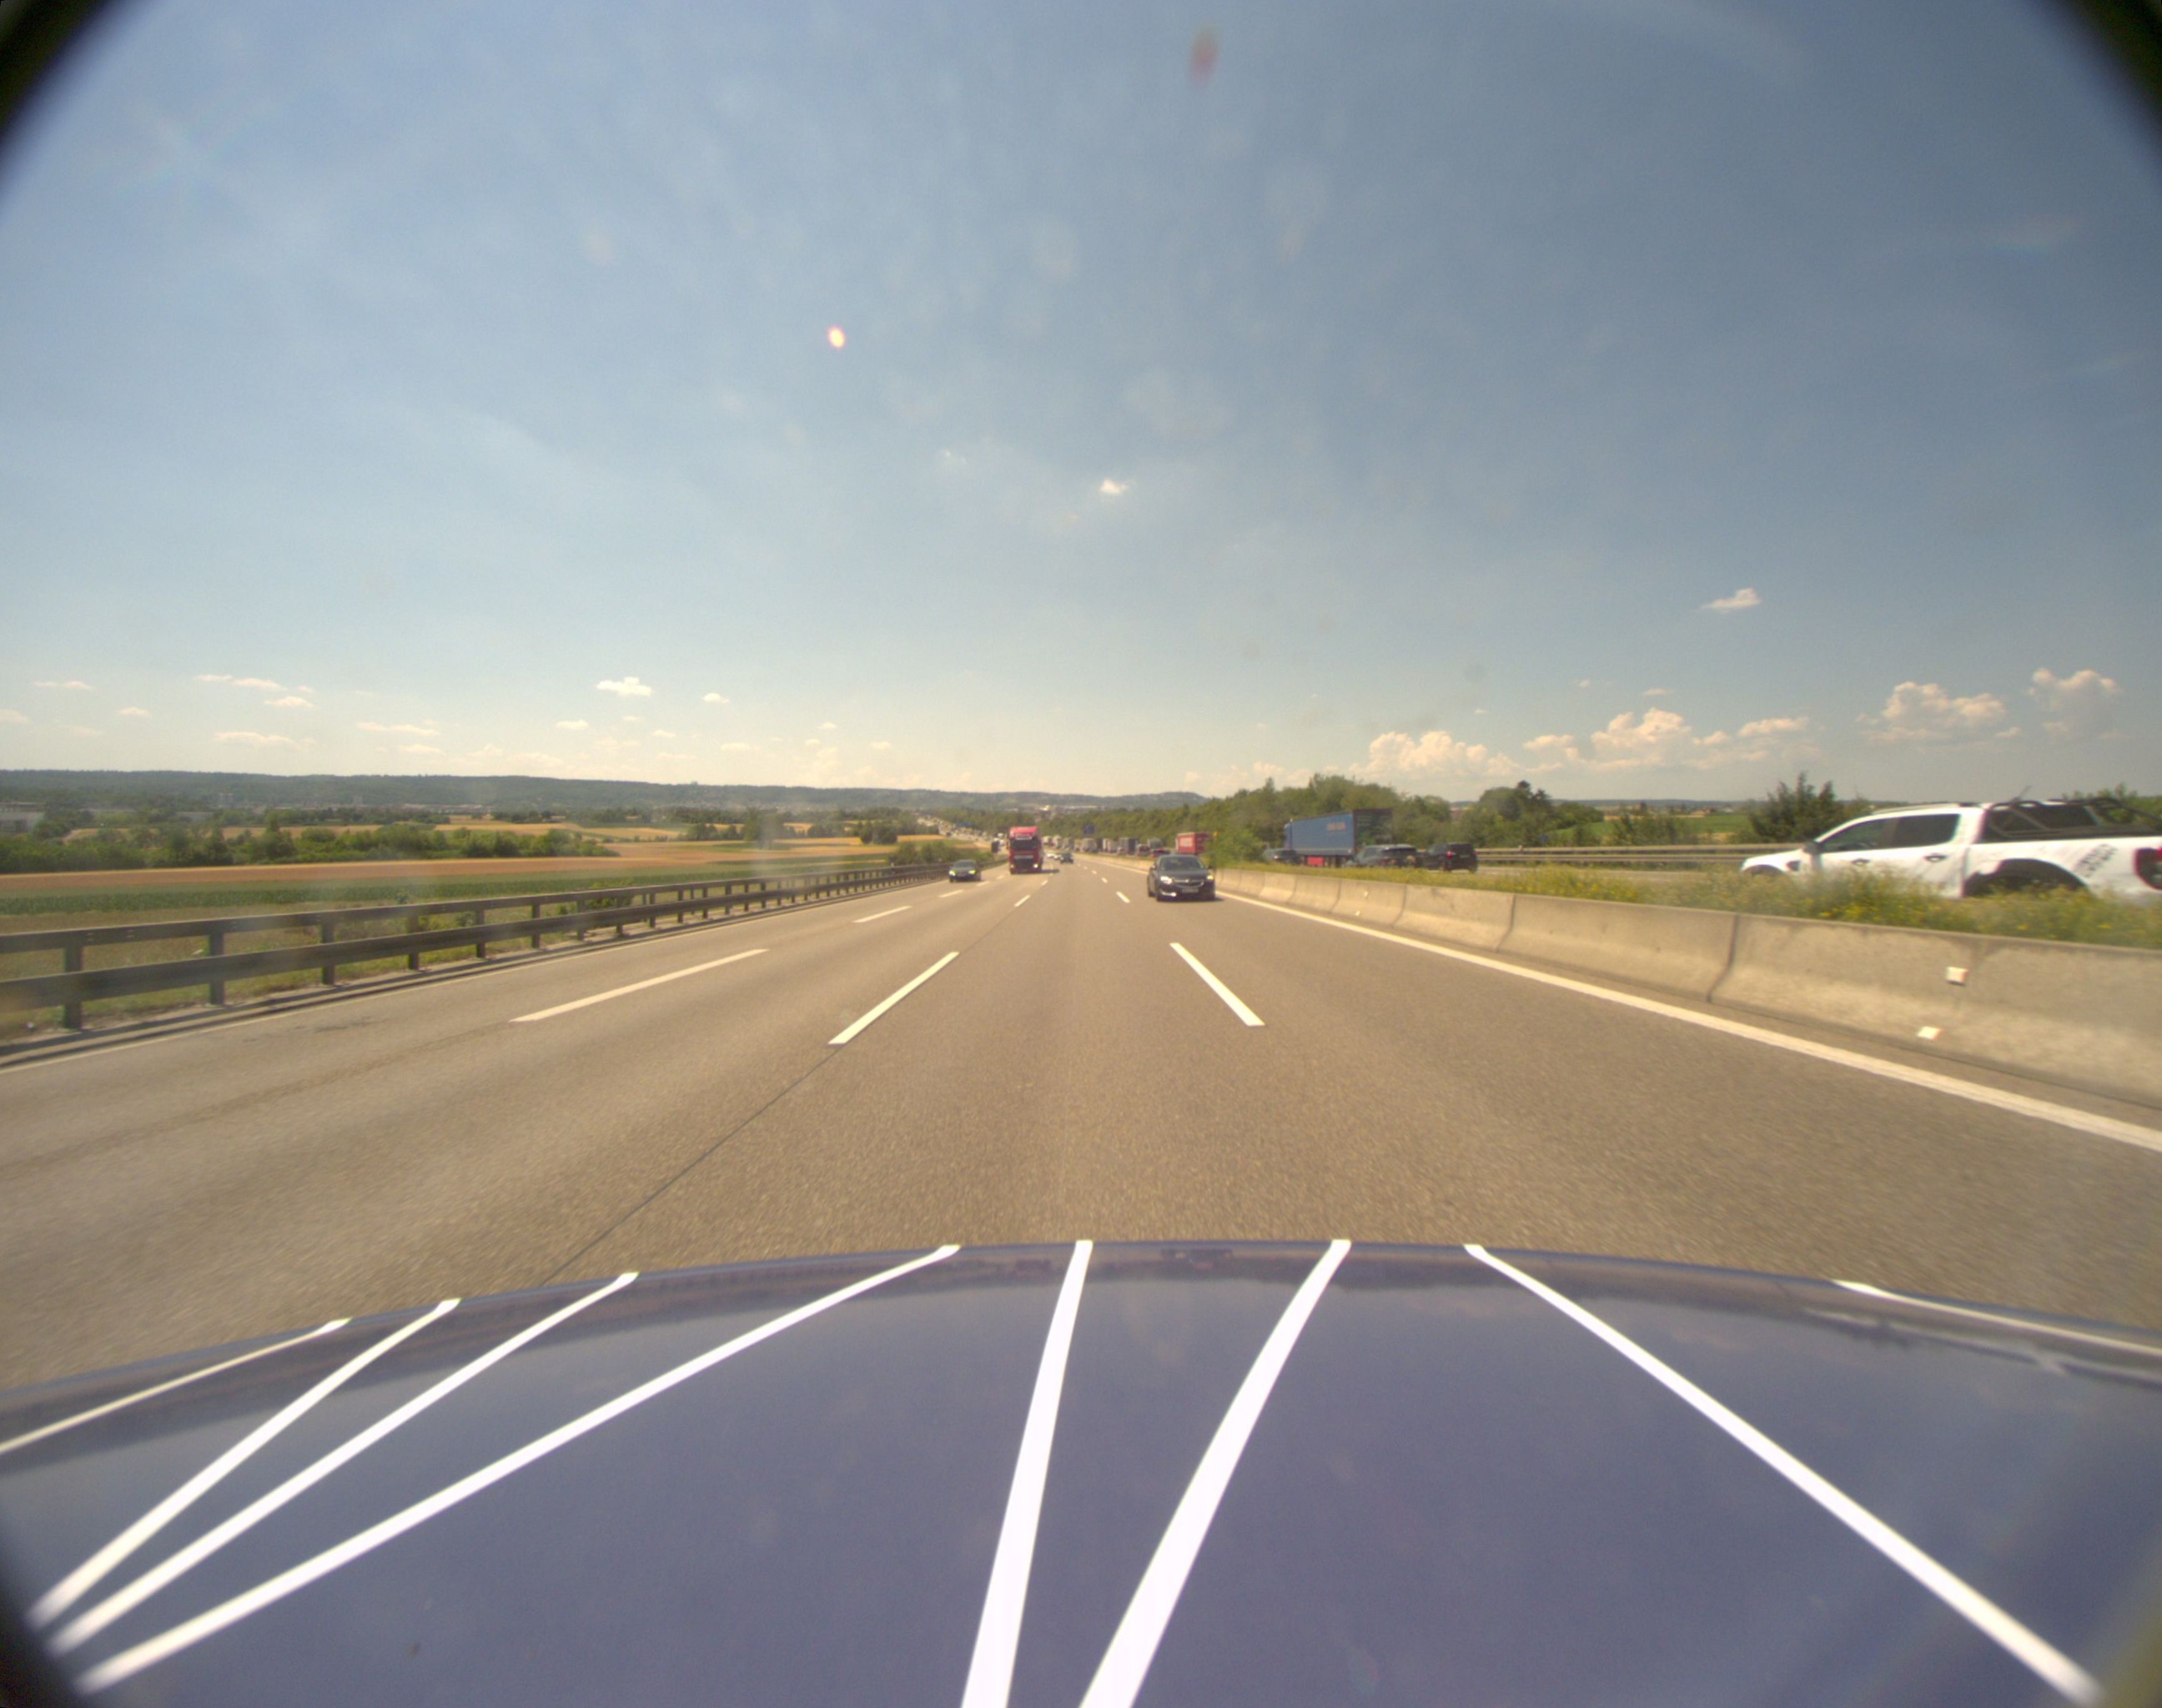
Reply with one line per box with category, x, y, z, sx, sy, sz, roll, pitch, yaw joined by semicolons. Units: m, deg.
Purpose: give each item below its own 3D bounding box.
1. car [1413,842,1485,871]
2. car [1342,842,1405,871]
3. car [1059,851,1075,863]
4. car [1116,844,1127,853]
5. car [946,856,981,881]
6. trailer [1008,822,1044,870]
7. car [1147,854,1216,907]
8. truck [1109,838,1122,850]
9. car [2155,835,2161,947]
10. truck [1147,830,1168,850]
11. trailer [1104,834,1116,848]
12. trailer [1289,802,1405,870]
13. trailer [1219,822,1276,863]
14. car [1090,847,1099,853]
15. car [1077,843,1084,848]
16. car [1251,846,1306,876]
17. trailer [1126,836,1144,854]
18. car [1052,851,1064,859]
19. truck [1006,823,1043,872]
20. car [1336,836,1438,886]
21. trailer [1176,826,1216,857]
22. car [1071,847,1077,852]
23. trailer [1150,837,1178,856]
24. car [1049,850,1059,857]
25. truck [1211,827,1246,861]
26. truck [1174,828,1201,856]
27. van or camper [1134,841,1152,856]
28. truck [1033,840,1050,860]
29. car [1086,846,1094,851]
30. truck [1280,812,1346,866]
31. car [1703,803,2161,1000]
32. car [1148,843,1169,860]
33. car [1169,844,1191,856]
car;19.478;0.130;40.394;1.662;1.377;4.349;-2;0;-1
car;15.035;0.121;39.228;1.629;1.395;3.729;-2;0;-3
car;-2.031;0.441;109.310;1.866;1.426;3.996;-1;3;-5
car;9.336;-1.291;174.653;1.919;1.762;4.760;-2;1;-4
car;-7.912;0.935;51.341;2.038;1.543;3.998;-2;0;-5
trailer;-5.149;-0.883;73.301;2.926;4.094;13.850;-2;2;-2
car;3.248;0.798;25.432;1.807;1.534;4.750;-2;0;2
truck;9.722;-2.798;216.725;2.546;3.189;7.583;-2;1;-5
car;14.976;0.459;7.688;1.847;1.452;4.490;-2;0;-1
truck;14.756;-2.707;147.691;2.909;3.854;6.175;-2;1;-4
trailer;8.801;-3.928;230.280;2.928;4.049;8.226;-1;1;-2
trailer;18.794;-1.232;55.251;3.169;4.170;14.377;-3;1;0
trailer;18.577;-1.239;85.855;2.960;4.077;14.378;-2;0;-1
car;3.667;-1.100;205.521;2.055;1.686;5.252;-2;1;-4
car;-0.081;-2.605;240.232;1.843;1.574;4.552;-2;1;-4
car;11.546;0.371;44.611;1.999;1.625;4.349;-2;1;-1
trailer;12.858;-2.212;181.429;2.994;4.169;8.590;-2;1;-4
car;-4.431;0.239;144.011;1.867;1.322;3.996;-2;3;-7
truck;-4.880;-0.597;66.812;2.924;3.986;6.507;-2;2;-3
car;11.473;0.251;28.864;1.999;1.663;4.476;-2;0;-1
trailer;16.792;-1.828;111.984;3.094;4.077;14.376;-2;1;-2
car;-2.393;-1.645;262.169;1.843;1.278;4.870;-2;3;-4
trailer;15.282;-1.445;140.425;2.866;3.187;12.776;-2;1;-4
car;-6.206;-0.155;171.361;1.999;1.467;3.996;-2;3;-5
truck;18.062;-1.196;93.291;2.758;3.815;7.097;-2;0;-1
truck;16.587;-1.888;118.739;3.044;4.058;6.312;-2;1;-2
van or camper;11.435;-1.030;139.818;2.317;2.572;7.140;-2;1;-2
truck;-6.693;-0.768;127.041;2.446;3.012;6.910;-2;3;-5
car;2.869;-1.839;246.745;1.999;1.518;4.769;-2;1;-5
truck;18.773;-1.187;62.070;3.084;4.066;6.934;-2;1;-1
car;11.442;0.380;9.946;1.998;1.893;5.675;-2;1;1
car;9.770;-0.313;96.454;1.918;1.958;5.445;-2;1;-2
car;13.371;-0.552;102.820;1.918;1.532;5.741;-2;1;-2
